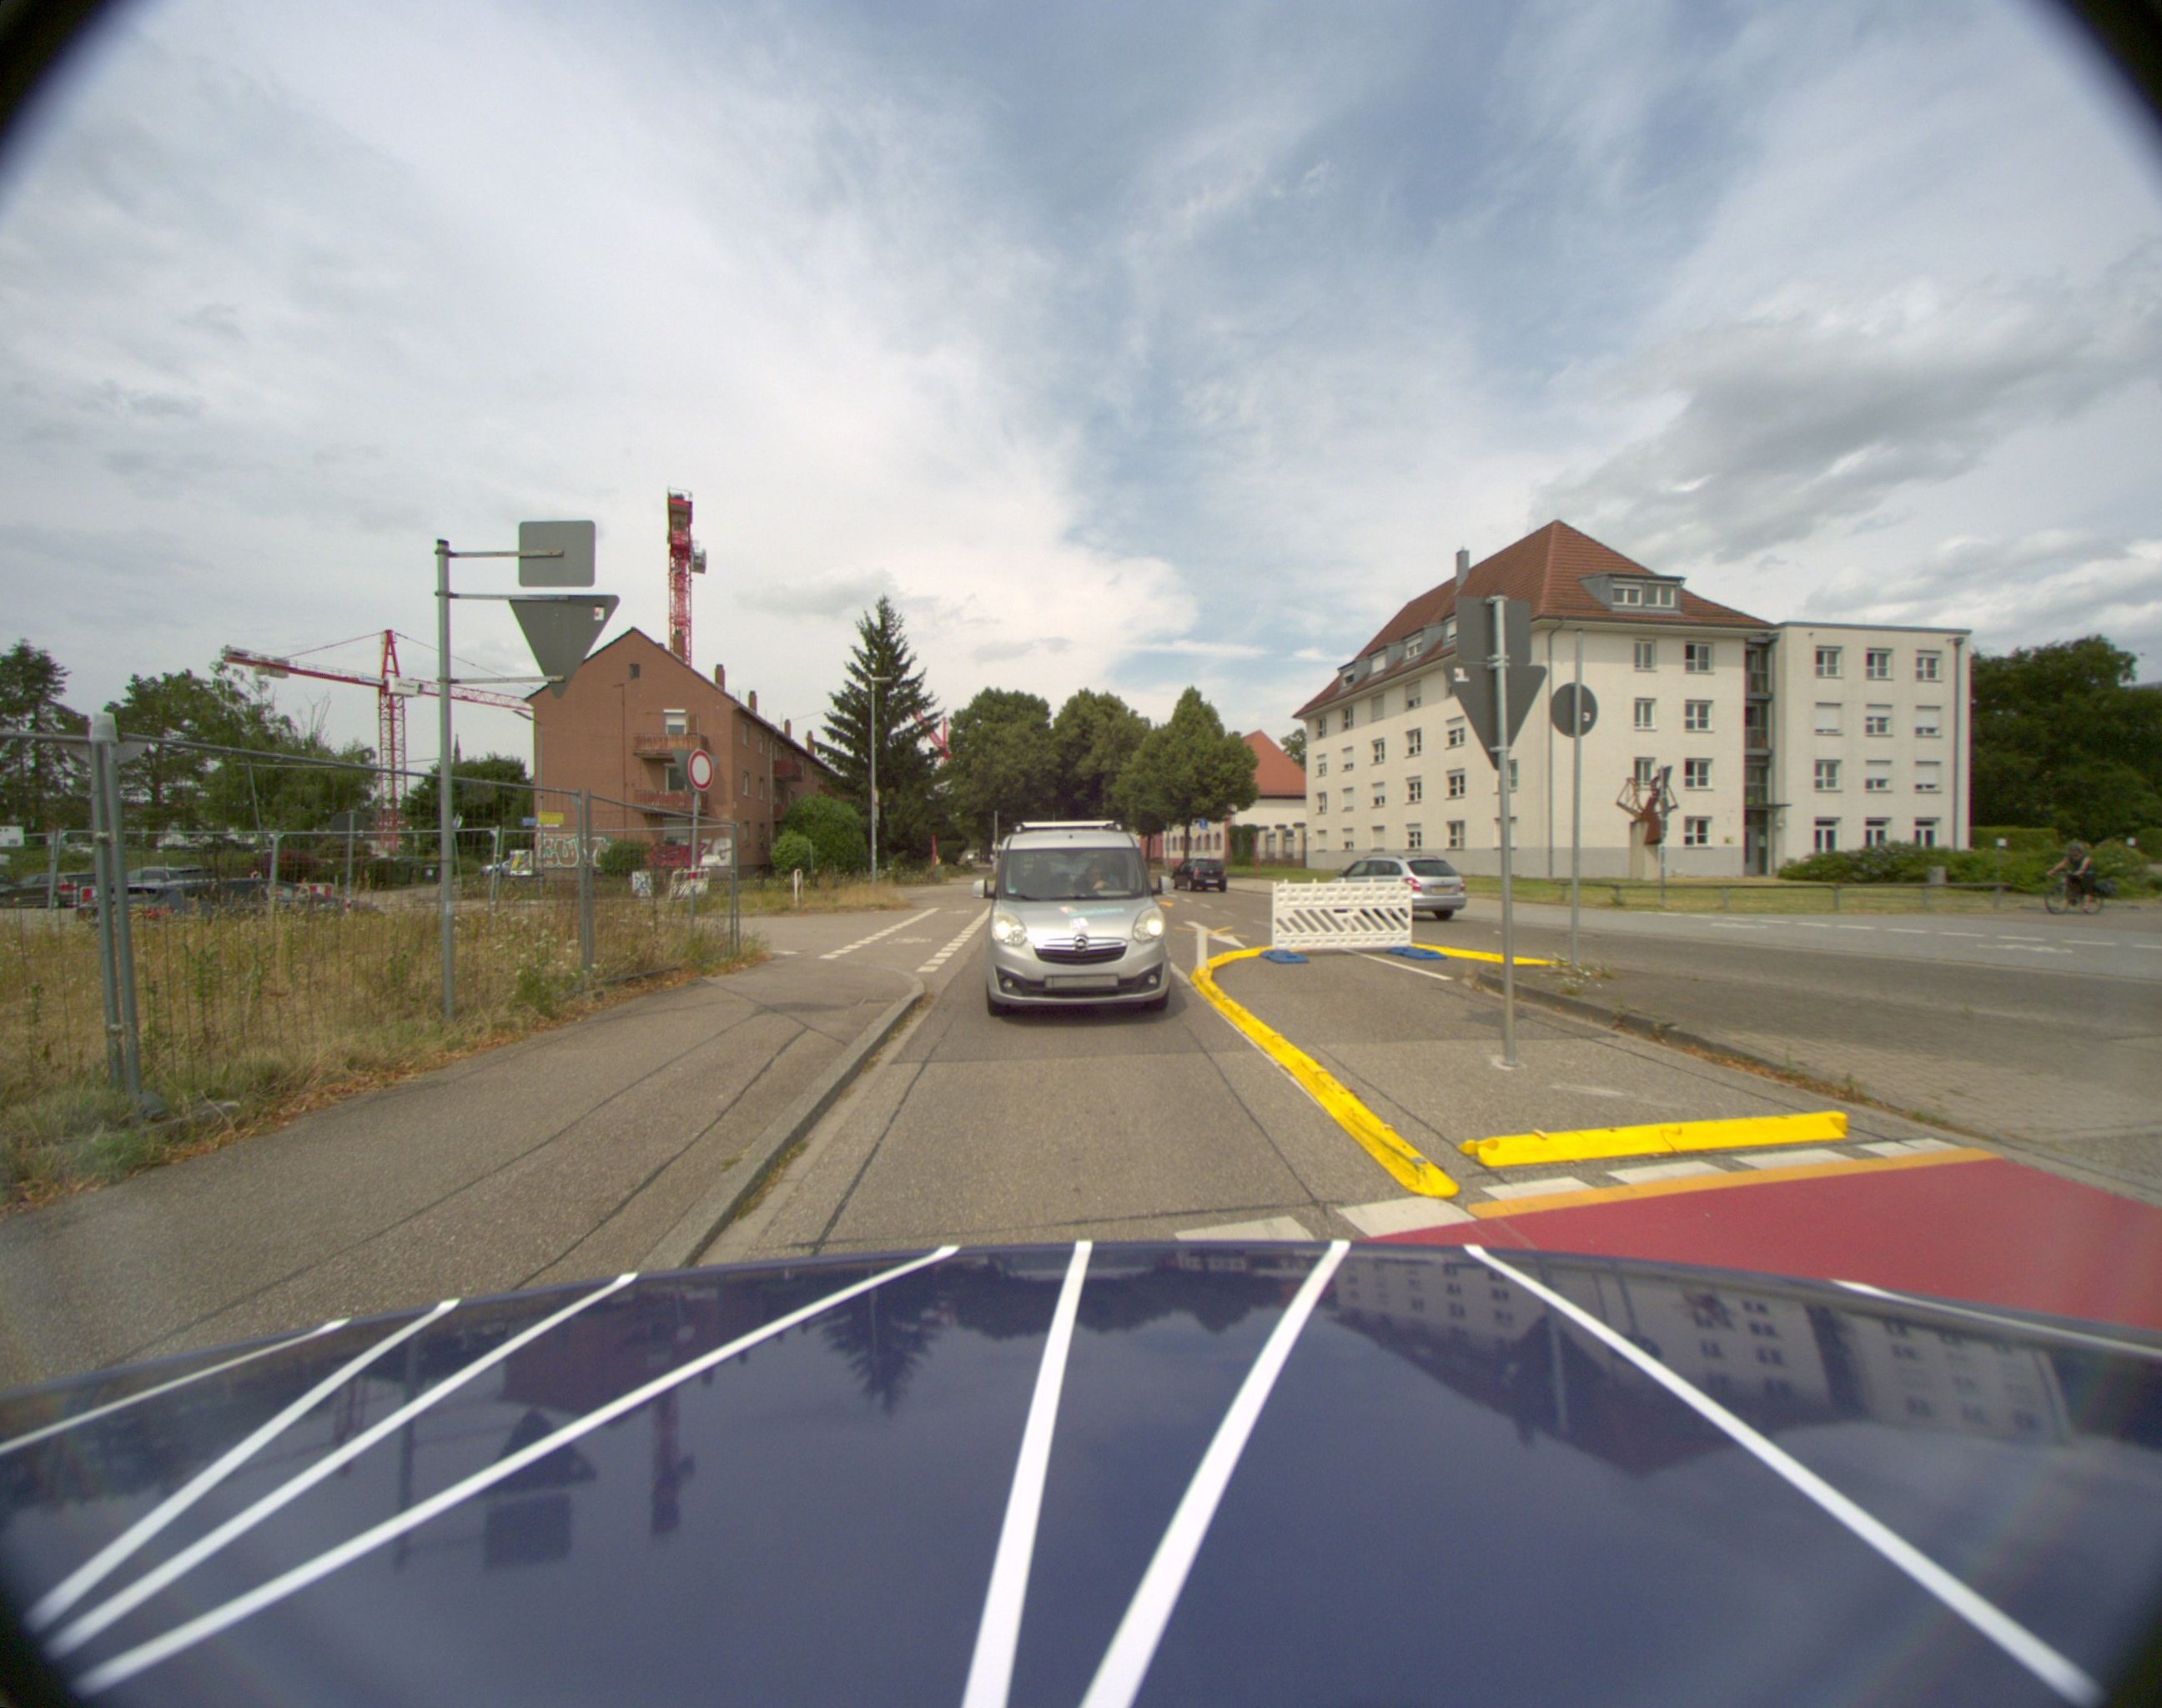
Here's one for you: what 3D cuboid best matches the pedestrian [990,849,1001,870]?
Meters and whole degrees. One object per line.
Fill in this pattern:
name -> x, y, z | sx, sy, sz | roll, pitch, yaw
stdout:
pedestrian -> -8.263, 0.558, 73.313 | 0.856, 2.002, 0.731 | -1, 1, -17

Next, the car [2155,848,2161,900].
car -> 38.241, 0.692, 24.033 | 2.000, 1.754, 4.496 | -1, 1, -10

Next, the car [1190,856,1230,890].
car -> 5.688, 0.816, 33.761 | 1.629, 1.406, 3.725 | 1, 0, 8

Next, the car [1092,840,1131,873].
car -> 2.160, 0.160, 55.499 | 2.000, 2.260, 5.156 | 0, 0, -8

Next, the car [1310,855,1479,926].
car -> 7.528, 0.799, 18.754 | 1.630, 1.510, 4.212 | 0, 0, -15

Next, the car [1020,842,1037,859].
car -> -8.671, -0.574, 125.066 | 2.072, 2.670, 5.964 | -1, 1, -11

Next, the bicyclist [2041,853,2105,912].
bicyclist -> 24.249, 0.695, 18.587 | 0.803, 1.415, 0.602 | 0, 1, -2

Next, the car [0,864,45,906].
car -> -47.229, 1.322, 32.521 | 4.007, 1.739, 1.859 | 0, 1, 11

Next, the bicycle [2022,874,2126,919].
bicycle -> 24.288, 1.035, 18.595 | 1.828, 1.040, 0.602 | 0, 0, -2

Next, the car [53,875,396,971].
car -> -16.410, 1.232, 14.975 | 1.765, 1.465, 4.260 | 0, 0, 4

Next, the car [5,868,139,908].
car -> -42.180, 1.398, 31.791 | 4.007, 1.593, 1.803 | 0, 1, 12

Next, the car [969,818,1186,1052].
car -> -0.223, 0.659, 8.672 | 1.810, 1.936, 4.581 | -1, 1, -5
